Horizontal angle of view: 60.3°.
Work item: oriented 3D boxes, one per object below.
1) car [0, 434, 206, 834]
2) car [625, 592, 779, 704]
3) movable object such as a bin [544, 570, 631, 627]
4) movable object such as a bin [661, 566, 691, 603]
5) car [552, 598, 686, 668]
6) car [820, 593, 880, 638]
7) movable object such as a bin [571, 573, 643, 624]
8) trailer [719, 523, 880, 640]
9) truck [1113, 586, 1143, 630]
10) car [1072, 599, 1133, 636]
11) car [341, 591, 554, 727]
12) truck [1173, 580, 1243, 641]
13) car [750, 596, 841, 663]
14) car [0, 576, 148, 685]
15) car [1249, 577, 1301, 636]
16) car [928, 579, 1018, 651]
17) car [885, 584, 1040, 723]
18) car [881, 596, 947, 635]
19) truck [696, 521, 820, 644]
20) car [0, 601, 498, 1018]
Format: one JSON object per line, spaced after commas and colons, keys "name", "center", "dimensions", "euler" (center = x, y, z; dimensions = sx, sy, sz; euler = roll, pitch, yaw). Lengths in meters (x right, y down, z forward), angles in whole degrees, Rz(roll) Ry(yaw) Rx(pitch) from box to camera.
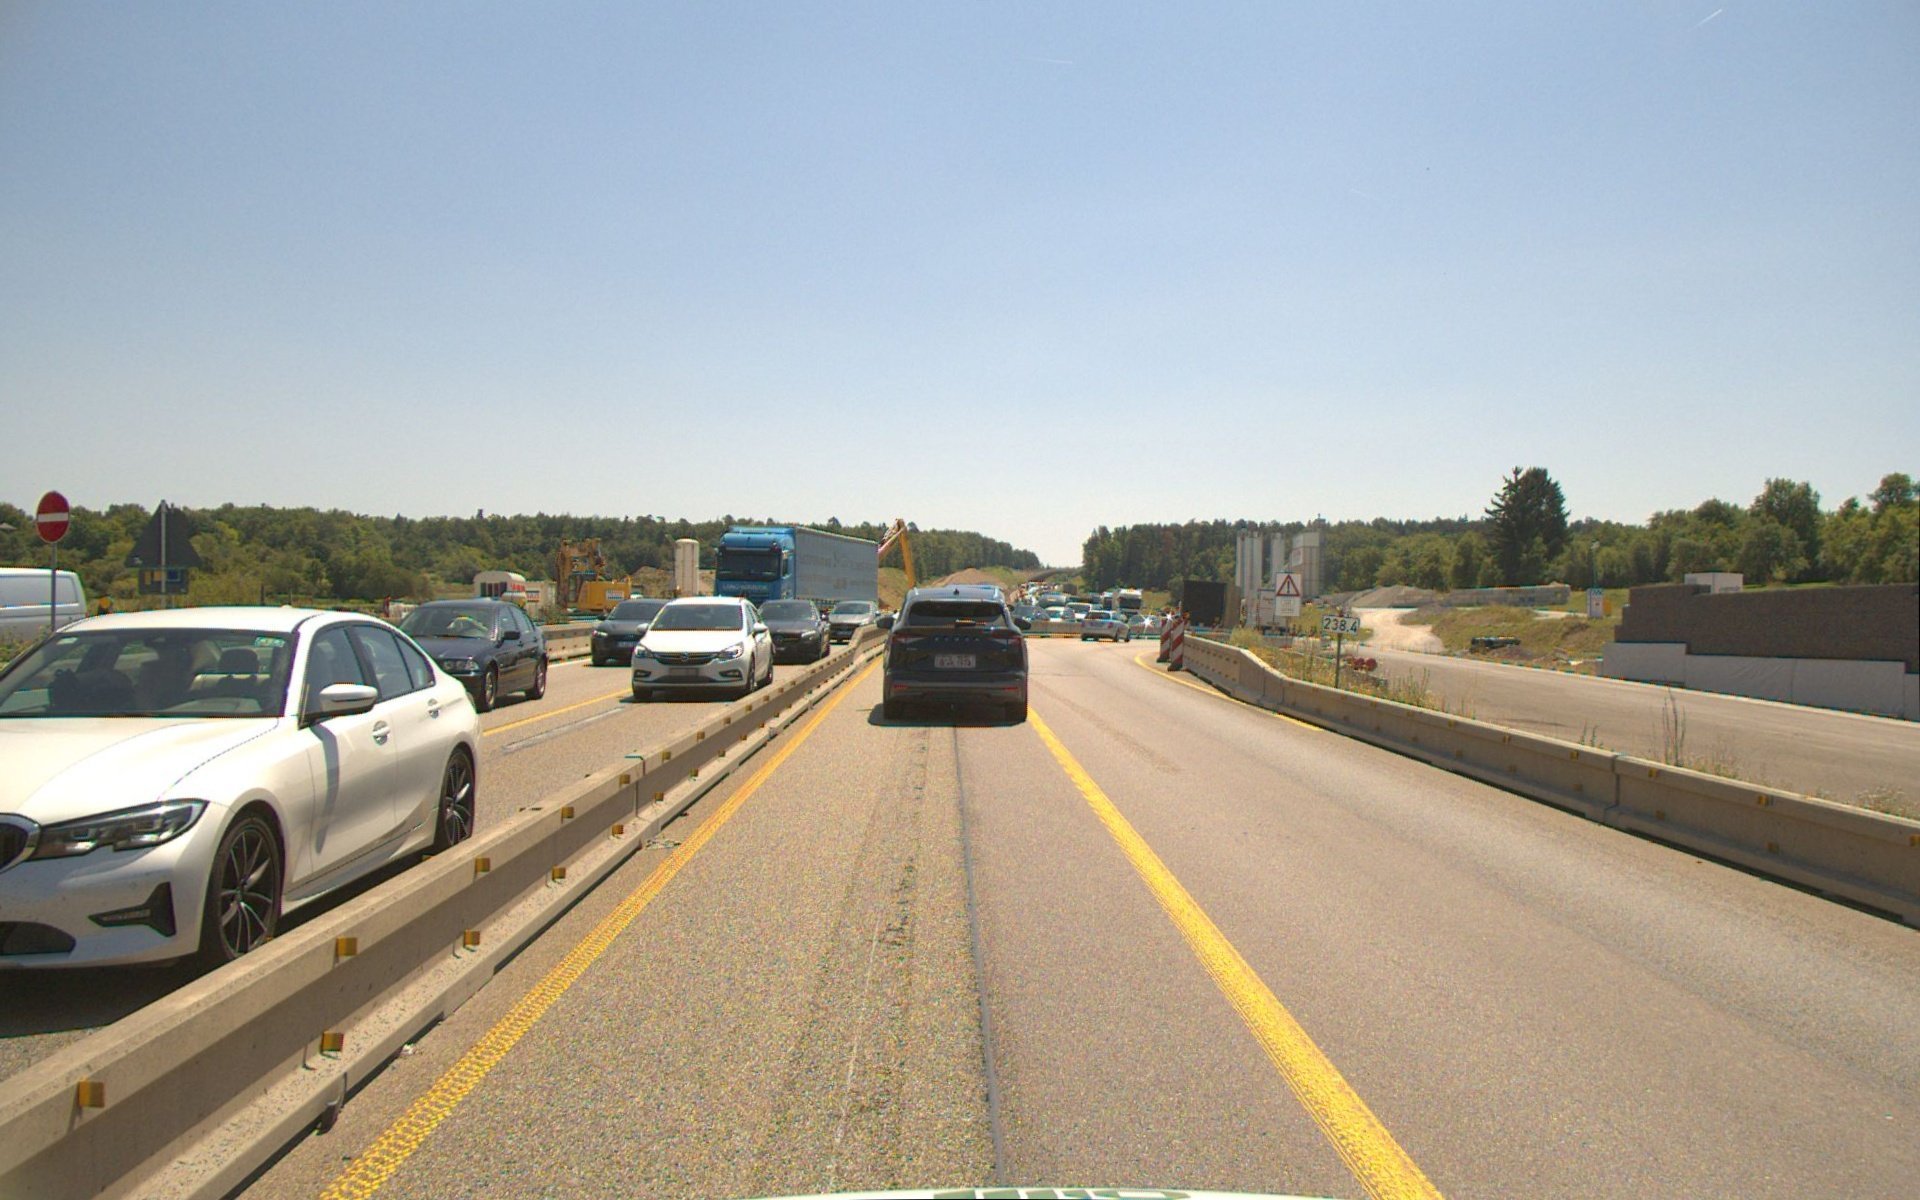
{"name": "car", "center": [-6.774, 0.199, 9.674], "dimensions": [1.875, 2.441, 6.451], "euler": [1, 1, -1]}
{"name": "car", "center": [-3.894, 0.668, 25.632], "dimensions": [1.698, 1.504, 4.519], "euler": [-1, 1, -1]}
{"name": "movable object such as a bin", "center": [-24.102, -0.091, 107.279], "dimensions": [3.714, 3.312, 5.560], "euler": [4, 0, 6]}
{"name": "movable object such as a bin", "center": [-26.458, -1.462, 153.860], "dimensions": [2.379, 3.179, 5.468], "euler": [5, 0, -11]}
{"name": "car", "center": [-7.599, 0.699, 37.317], "dimensions": [1.952, 1.423, 4.581], "euler": [0, 0, 1]}
{"name": "car", "center": [-3.740, 0.506, 56.602], "dimensions": [1.556, 1.466, 4.126], "euler": [-1, 0, 3]}
{"name": "movable object such as a bin", "center": [-20.996, -0.092, 98.276], "dimensions": [2.853, 2.774, 3.314], "euler": [3, 0, -40]}
{"name": "trailer", "center": [-6.141, -0.723, 66.665], "dimensions": [2.852, 4.201, 13.928], "euler": [0, 0, 10]}
{"name": "truck", "center": [16.990, 0.823, 167.503], "dimensions": [2.713, 4.334, 6.202], "euler": [2, 0, 4]}
{"name": "car", "center": [6.811, 0.789, 78.566], "dimensions": [2.002, 1.553, 5.070], "euler": [1, 2, 16]}
{"name": "car", "center": [-6.876, 0.725, 22.603], "dimensions": [1.731, 1.625, 4.000], "euler": [0, 1, -1]}
{"name": "truck", "center": [12.891, 0.506, 85.609], "dimensions": [2.617, 2.997, 5.623], "euler": [1, 1, 18]}
{"name": "car", "center": [-3.862, 0.663, 39.527], "dimensions": [1.737, 1.452, 4.769], "euler": [-1, 0, -1]}
{"name": "car", "center": [-18.497, 0.543, 32.601], "dimensions": [1.876, 1.975, 5.099], "euler": [0, 1, 9]}
{"name": "car", "center": [24.551, 0.545, 128.588], "dimensions": [3.364, 4.171, 9.204], "euler": [5, 0, 13]}
{"name": "car", "center": [0.408, 0.411, 46.634], "dimensions": [1.951, 1.876, 4.003], "euler": [2, 0, 8]}
{"name": "car", "center": [0.026, 0.611, 21.429], "dimensions": [1.805, 1.609, 4.000], "euler": [1, 1, 0]}
{"name": "car", "center": [-1.897, 0.616, 69.693], "dimensions": [1.973, 1.469, 4.592], "euler": [0, 1, 9]}
{"name": "truck", "center": [-7.214, -0.635, 59.933], "dimensions": [2.852, 4.201, 6.144], "euler": [0, 0, 9]}
{"name": "car", "center": [-3.644, 0.729, 7.873], "dimensions": [1.779, 1.400, 4.246], "euler": [0, 1, -1]}
